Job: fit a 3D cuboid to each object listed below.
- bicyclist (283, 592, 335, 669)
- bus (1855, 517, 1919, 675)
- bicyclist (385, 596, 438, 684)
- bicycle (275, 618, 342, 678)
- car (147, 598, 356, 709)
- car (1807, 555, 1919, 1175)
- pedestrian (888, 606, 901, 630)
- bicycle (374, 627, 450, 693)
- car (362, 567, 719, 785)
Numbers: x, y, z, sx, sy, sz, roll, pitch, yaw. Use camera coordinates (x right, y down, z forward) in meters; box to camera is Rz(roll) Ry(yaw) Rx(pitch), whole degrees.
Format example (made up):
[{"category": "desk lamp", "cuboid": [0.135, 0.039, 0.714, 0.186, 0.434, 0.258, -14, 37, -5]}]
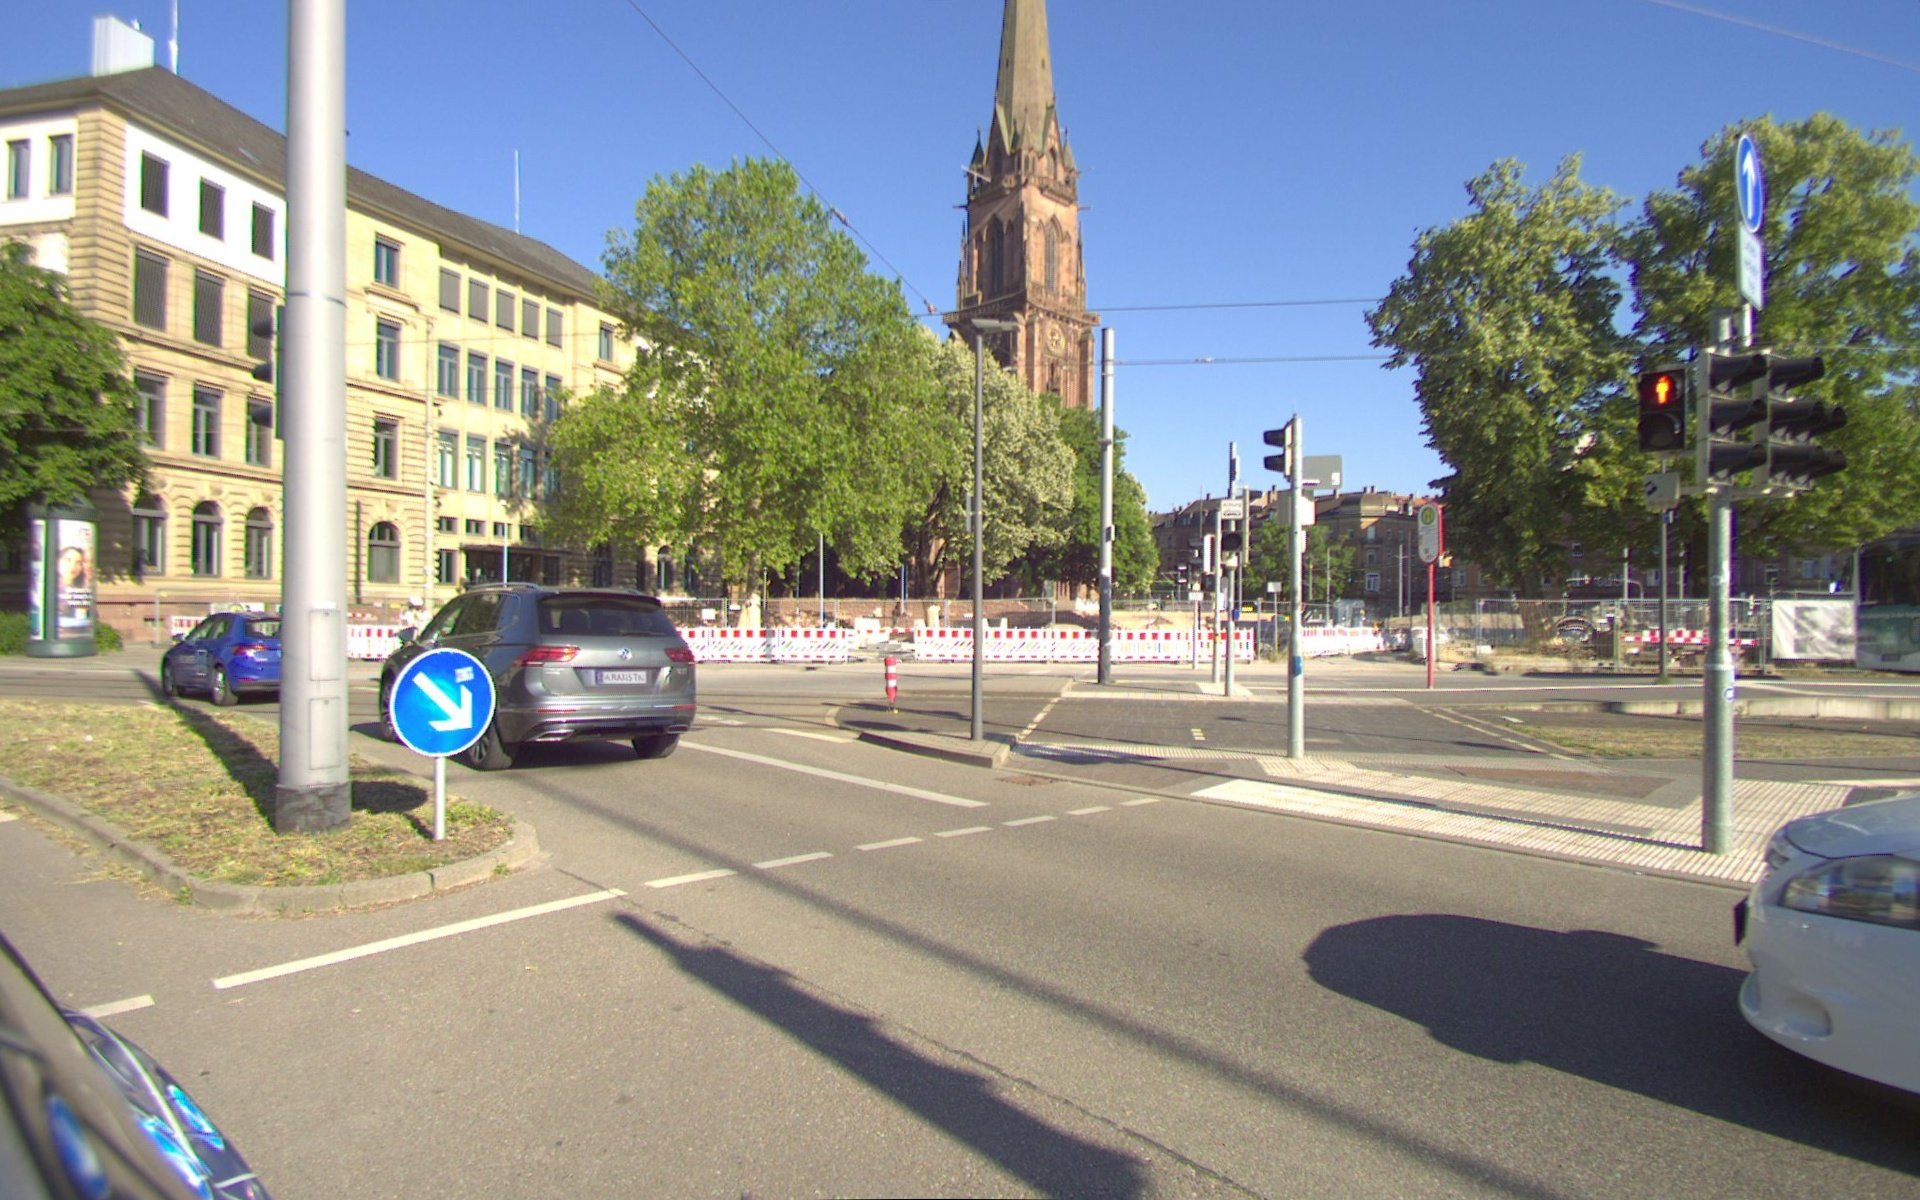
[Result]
[{"category": "bicyclist", "cuboid": [-14.573, 0.690, 22.645, 0.901, 1.670, 0.701, -1, -4, 44]}, {"category": "bus", "cuboid": [24.008, -0.081, 19.835, 9.544, 3.159, 2.652, 0, 1, 12]}, {"category": "bicyclist", "cuboid": [-10.679, 0.768, 19.706, 0.743, 1.670, 0.701, -1, -2, 44]}, {"category": "bicycle", "cuboid": [-14.575, 1.052, 22.609, 2.457, 1.260, 0.666, -1, -4, 44]}, {"category": "car", "cuboid": [-11.831, 0.832, 16.830, 3.919, 1.586, 1.720, 1, -2, 38]}, {"category": "car", "cuboid": [4.274, 0.671, 1.894, 1.675, 1.572, 3.982, 1, -1, -44]}, {"category": "pedestrian", "cuboid": [-4.513, 1.240, 69.712, 0.674, 1.660, 0.630, 0, 0, 34]}, {"category": "bicycle", "cuboid": [-10.700, 1.139, 19.720, 2.184, 1.189, 0.666, -1, -1, 44]}, {"category": "car", "cuboid": [-4.415, 0.646, 10.231, 1.741, 1.719, 4.533, 3, -3, -44]}]
